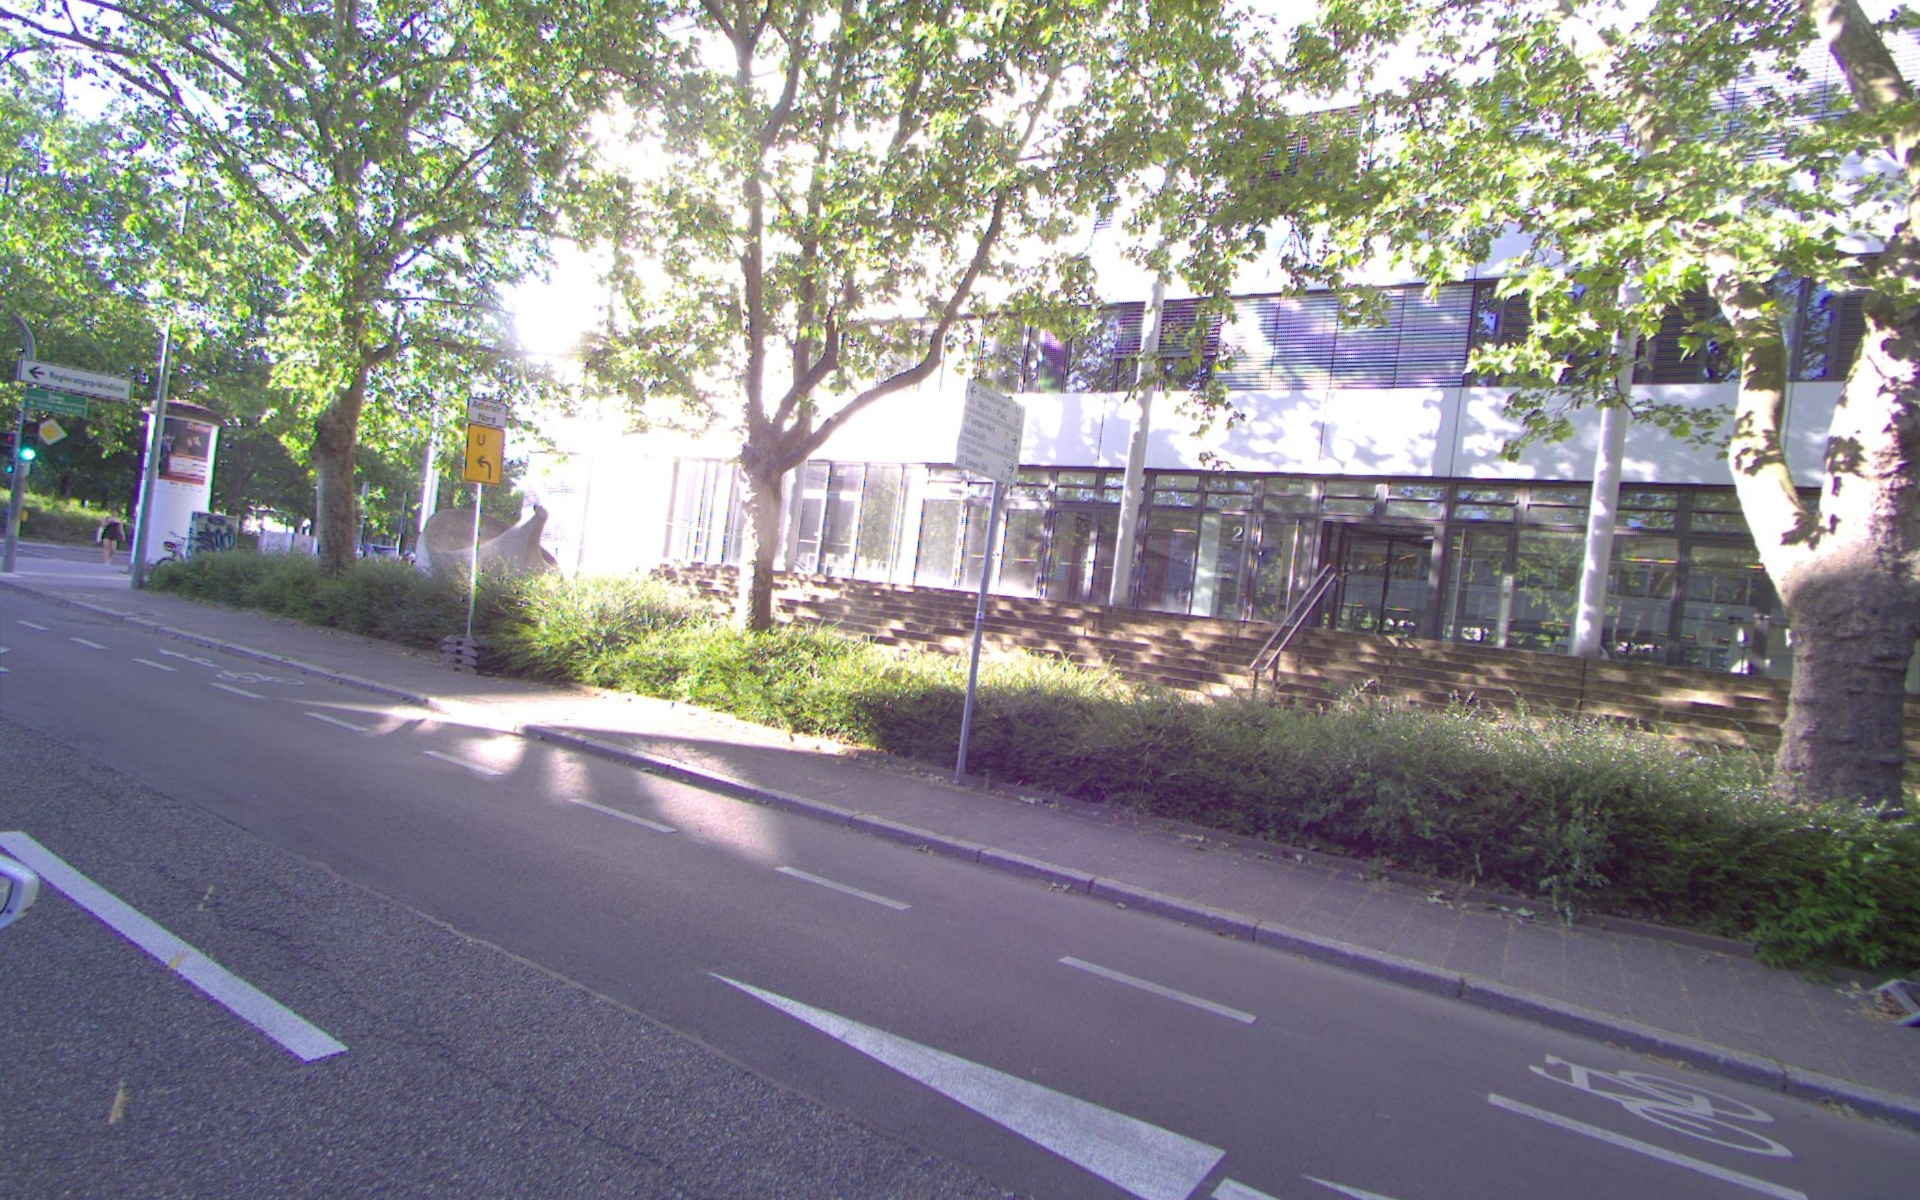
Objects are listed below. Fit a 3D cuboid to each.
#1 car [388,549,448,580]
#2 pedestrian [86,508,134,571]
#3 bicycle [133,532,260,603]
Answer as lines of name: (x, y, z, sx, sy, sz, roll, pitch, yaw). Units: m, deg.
car: (-35.559, -2.331, 65.977, 3.732, 1.500, 1.633, 6, -2, 31)
pedestrian: (-23.857, -1.700, 28.224, 0.896, 1.649, 0.796, 6, -1, 45)
bicycle: (-15.938, -0.655, 21.060, 0.519, 1.203, 1.980, 7, -2, 30)
